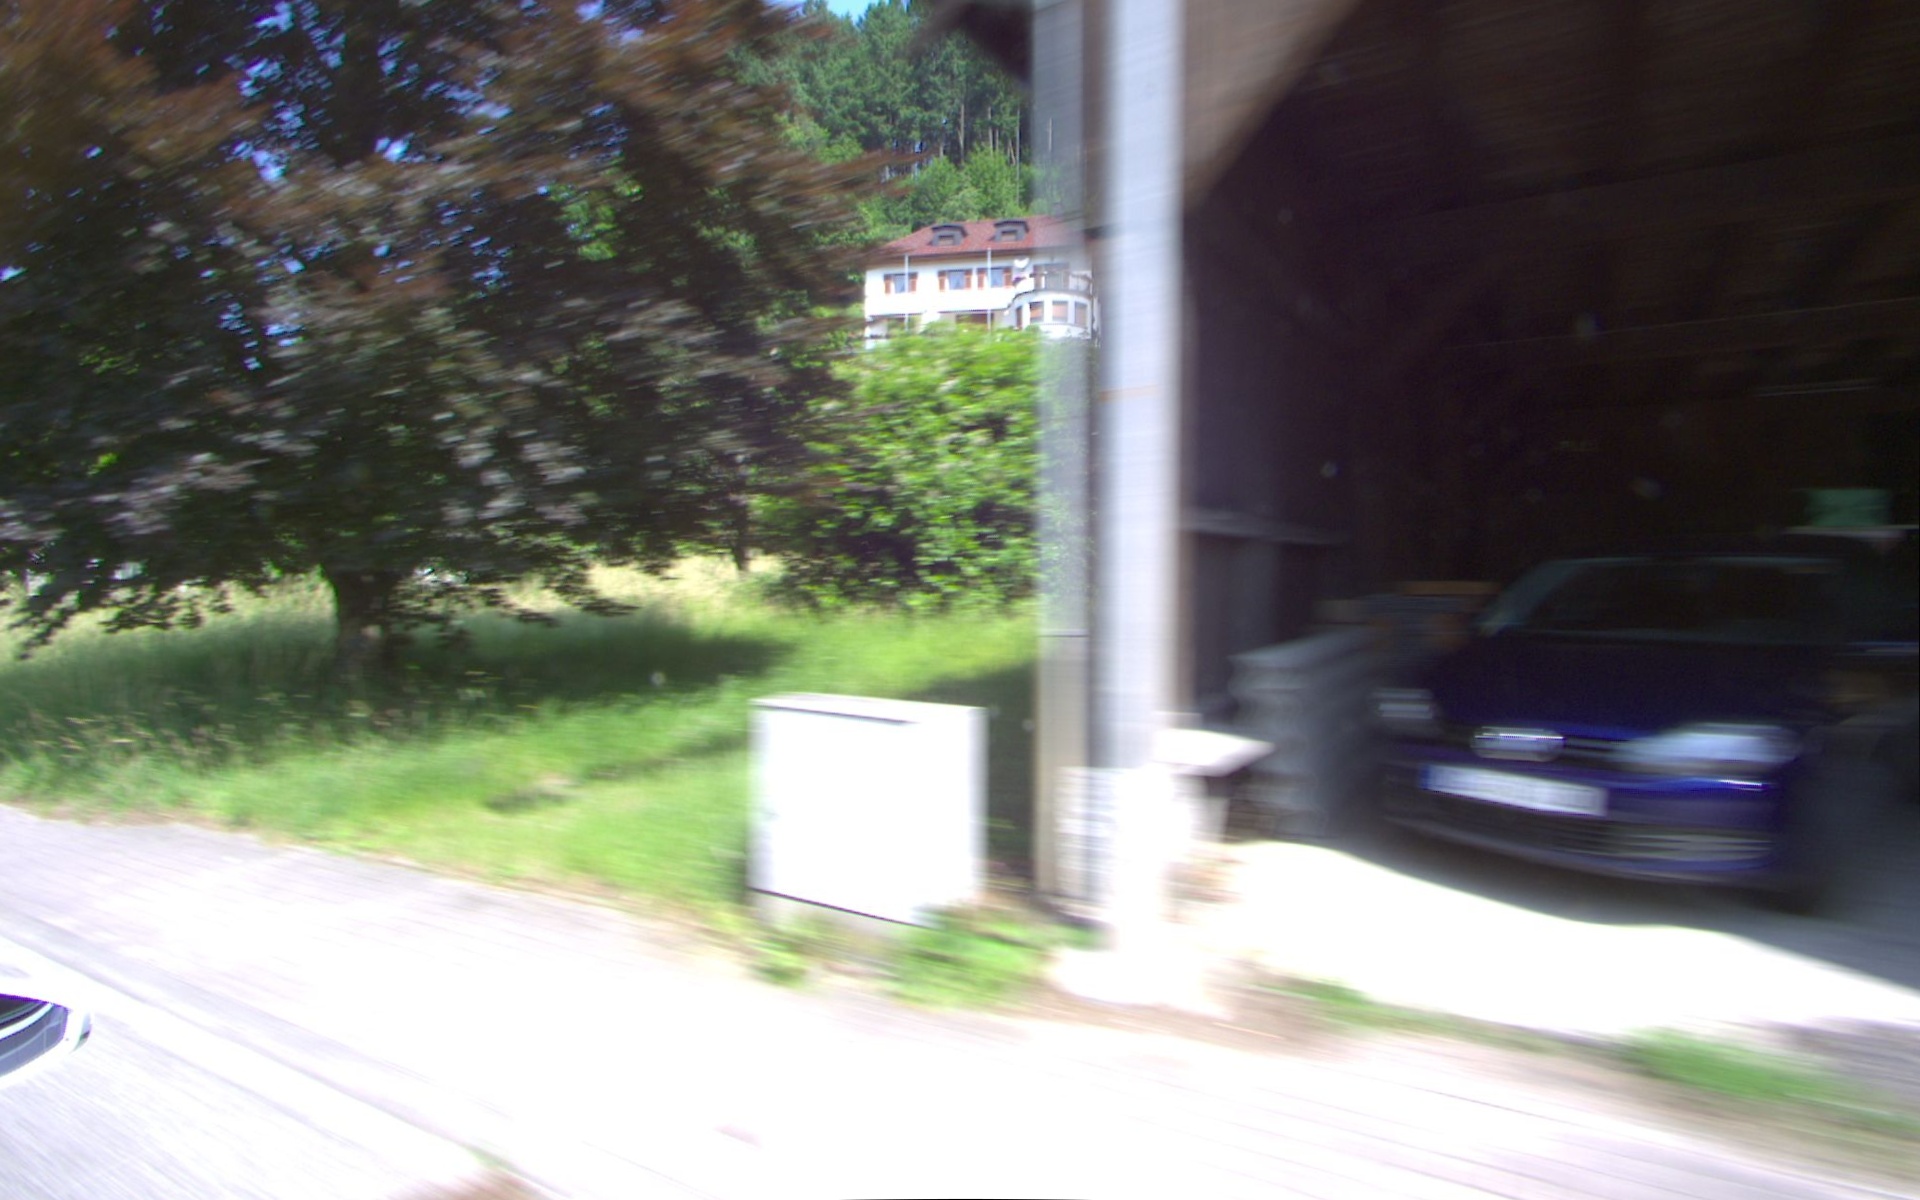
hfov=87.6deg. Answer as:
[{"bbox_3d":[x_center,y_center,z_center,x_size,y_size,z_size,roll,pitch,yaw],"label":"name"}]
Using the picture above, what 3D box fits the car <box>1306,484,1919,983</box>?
[{"bbox_3d":[3.650,0.341,5.046,3.954,1.529,1.854,-2,3,-40],"label":"car"}]
